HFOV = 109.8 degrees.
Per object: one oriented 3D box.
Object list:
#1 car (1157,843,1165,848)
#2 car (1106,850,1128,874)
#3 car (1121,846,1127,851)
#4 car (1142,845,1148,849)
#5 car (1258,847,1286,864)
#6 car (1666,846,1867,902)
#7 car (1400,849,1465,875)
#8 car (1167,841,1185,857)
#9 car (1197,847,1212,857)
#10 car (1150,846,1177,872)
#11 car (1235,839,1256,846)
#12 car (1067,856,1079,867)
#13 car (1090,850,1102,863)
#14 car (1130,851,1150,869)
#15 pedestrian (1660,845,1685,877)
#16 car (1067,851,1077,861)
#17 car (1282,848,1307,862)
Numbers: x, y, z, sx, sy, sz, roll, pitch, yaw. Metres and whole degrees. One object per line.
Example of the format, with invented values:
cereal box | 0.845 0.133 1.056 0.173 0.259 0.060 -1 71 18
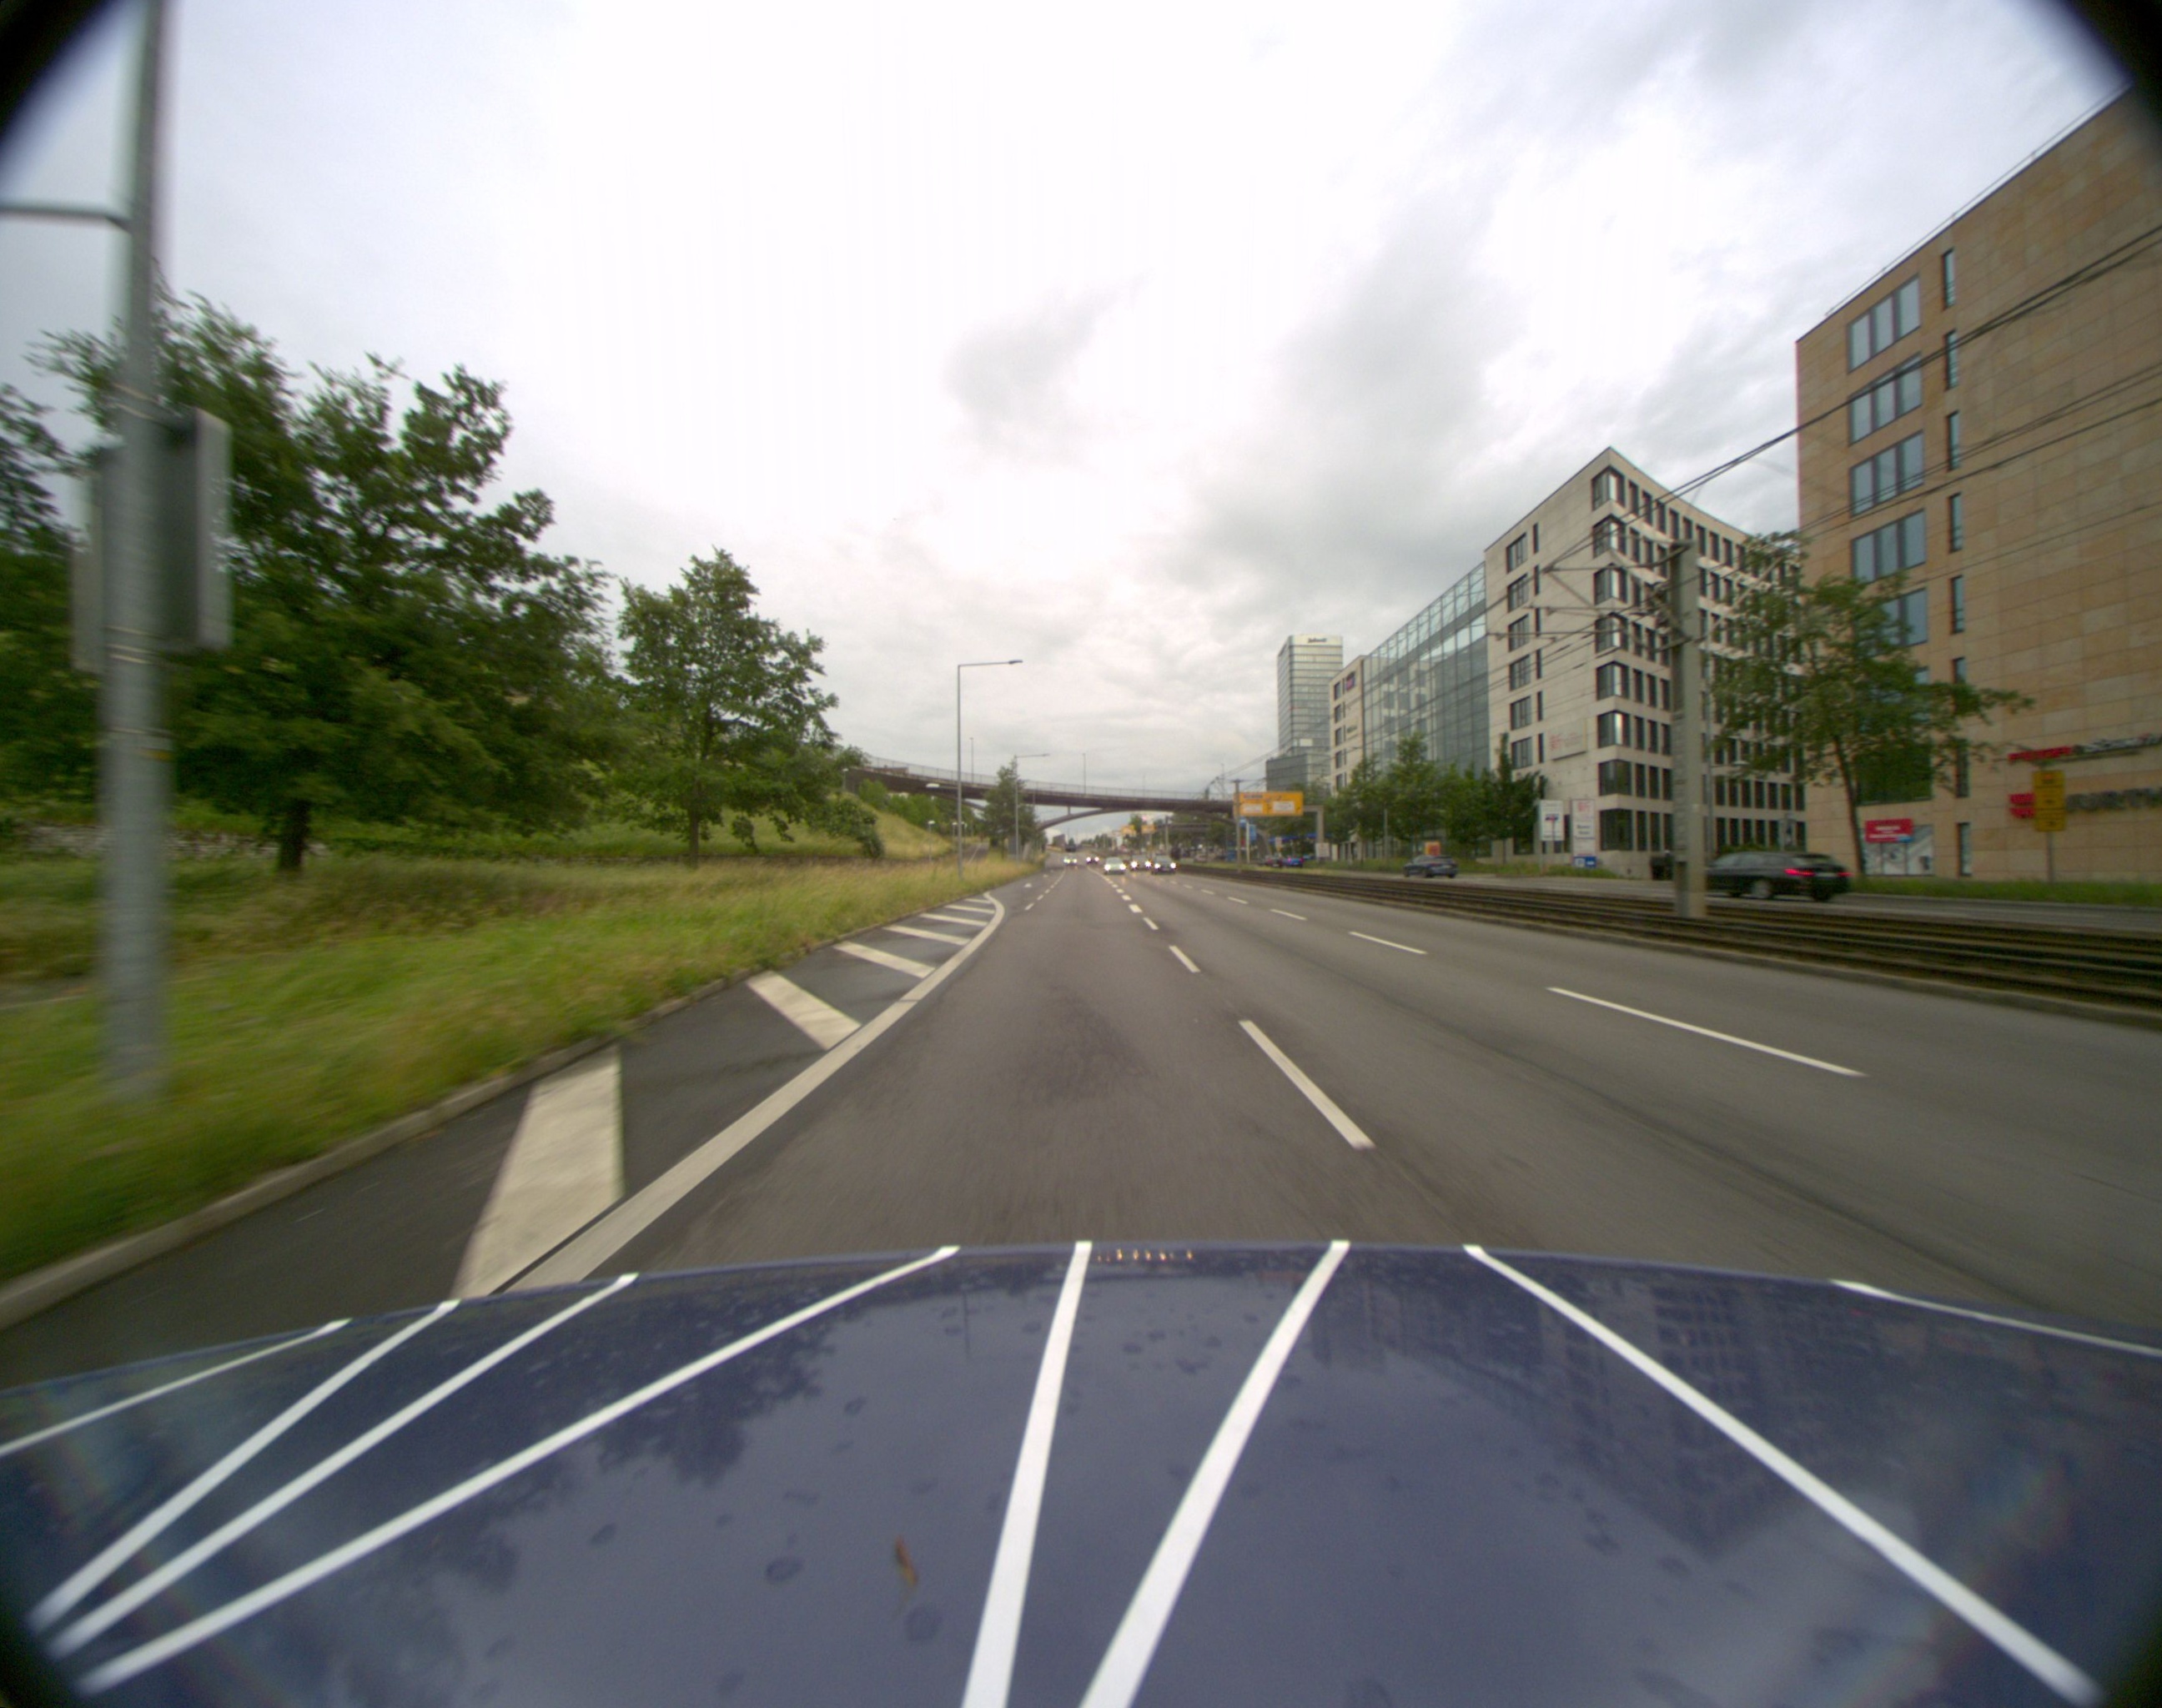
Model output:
car | 22.739 -2.392 215.956 1.814 1.524 4.274 -3 0 0
car | 3.190 0.684 67.964 1.794 1.858 4.376 -3 2 1
car | 14.717 -1.975 257.618 1.768 1.588 4.791 -3 0 0
car | 22.149 -2.407 263.693 1.925 1.488 4.656 1 0 1
car | 18.586 0.115 74.114 1.776 1.493 4.199 -3 2 2
car | 20.381 0.550 22.931 1.845 1.477 4.653 2 0 1
car | 21.566 0.470 46.795 1.845 1.477 4.653 2 0 1
car | 17.906 -0.957 143.370 2.390 2.801 5.610 -3 1 -1
car | 21.774 -0.379 134.071 1.764 1.524 4.817 -3 0 1
car | 6.687 0.396 61.889 1.794 1.858 4.376 -3 2 1
car | 37.350 -2.666 172.926 4.363 1.495 1.885 -3 2 3
car | -1.292 1.211 127.035 1.794 1.622 4.376 -3 2 1
car | 2.546 0.424 128.872 1.794 1.858 4.376 -3 2 1
car | 6.020 0.566 77.957 1.794 1.536 4.376 -3 2 1
pedestrian | 31.241 0.378 40.167 0.643 1.622 0.831 -3 2 -2
car | -1.731 0.402 145.750 1.794 1.622 4.375 -3 2 0
car | 24.708 0.103 88.114 1.845 1.446 4.023 -3 2 1
